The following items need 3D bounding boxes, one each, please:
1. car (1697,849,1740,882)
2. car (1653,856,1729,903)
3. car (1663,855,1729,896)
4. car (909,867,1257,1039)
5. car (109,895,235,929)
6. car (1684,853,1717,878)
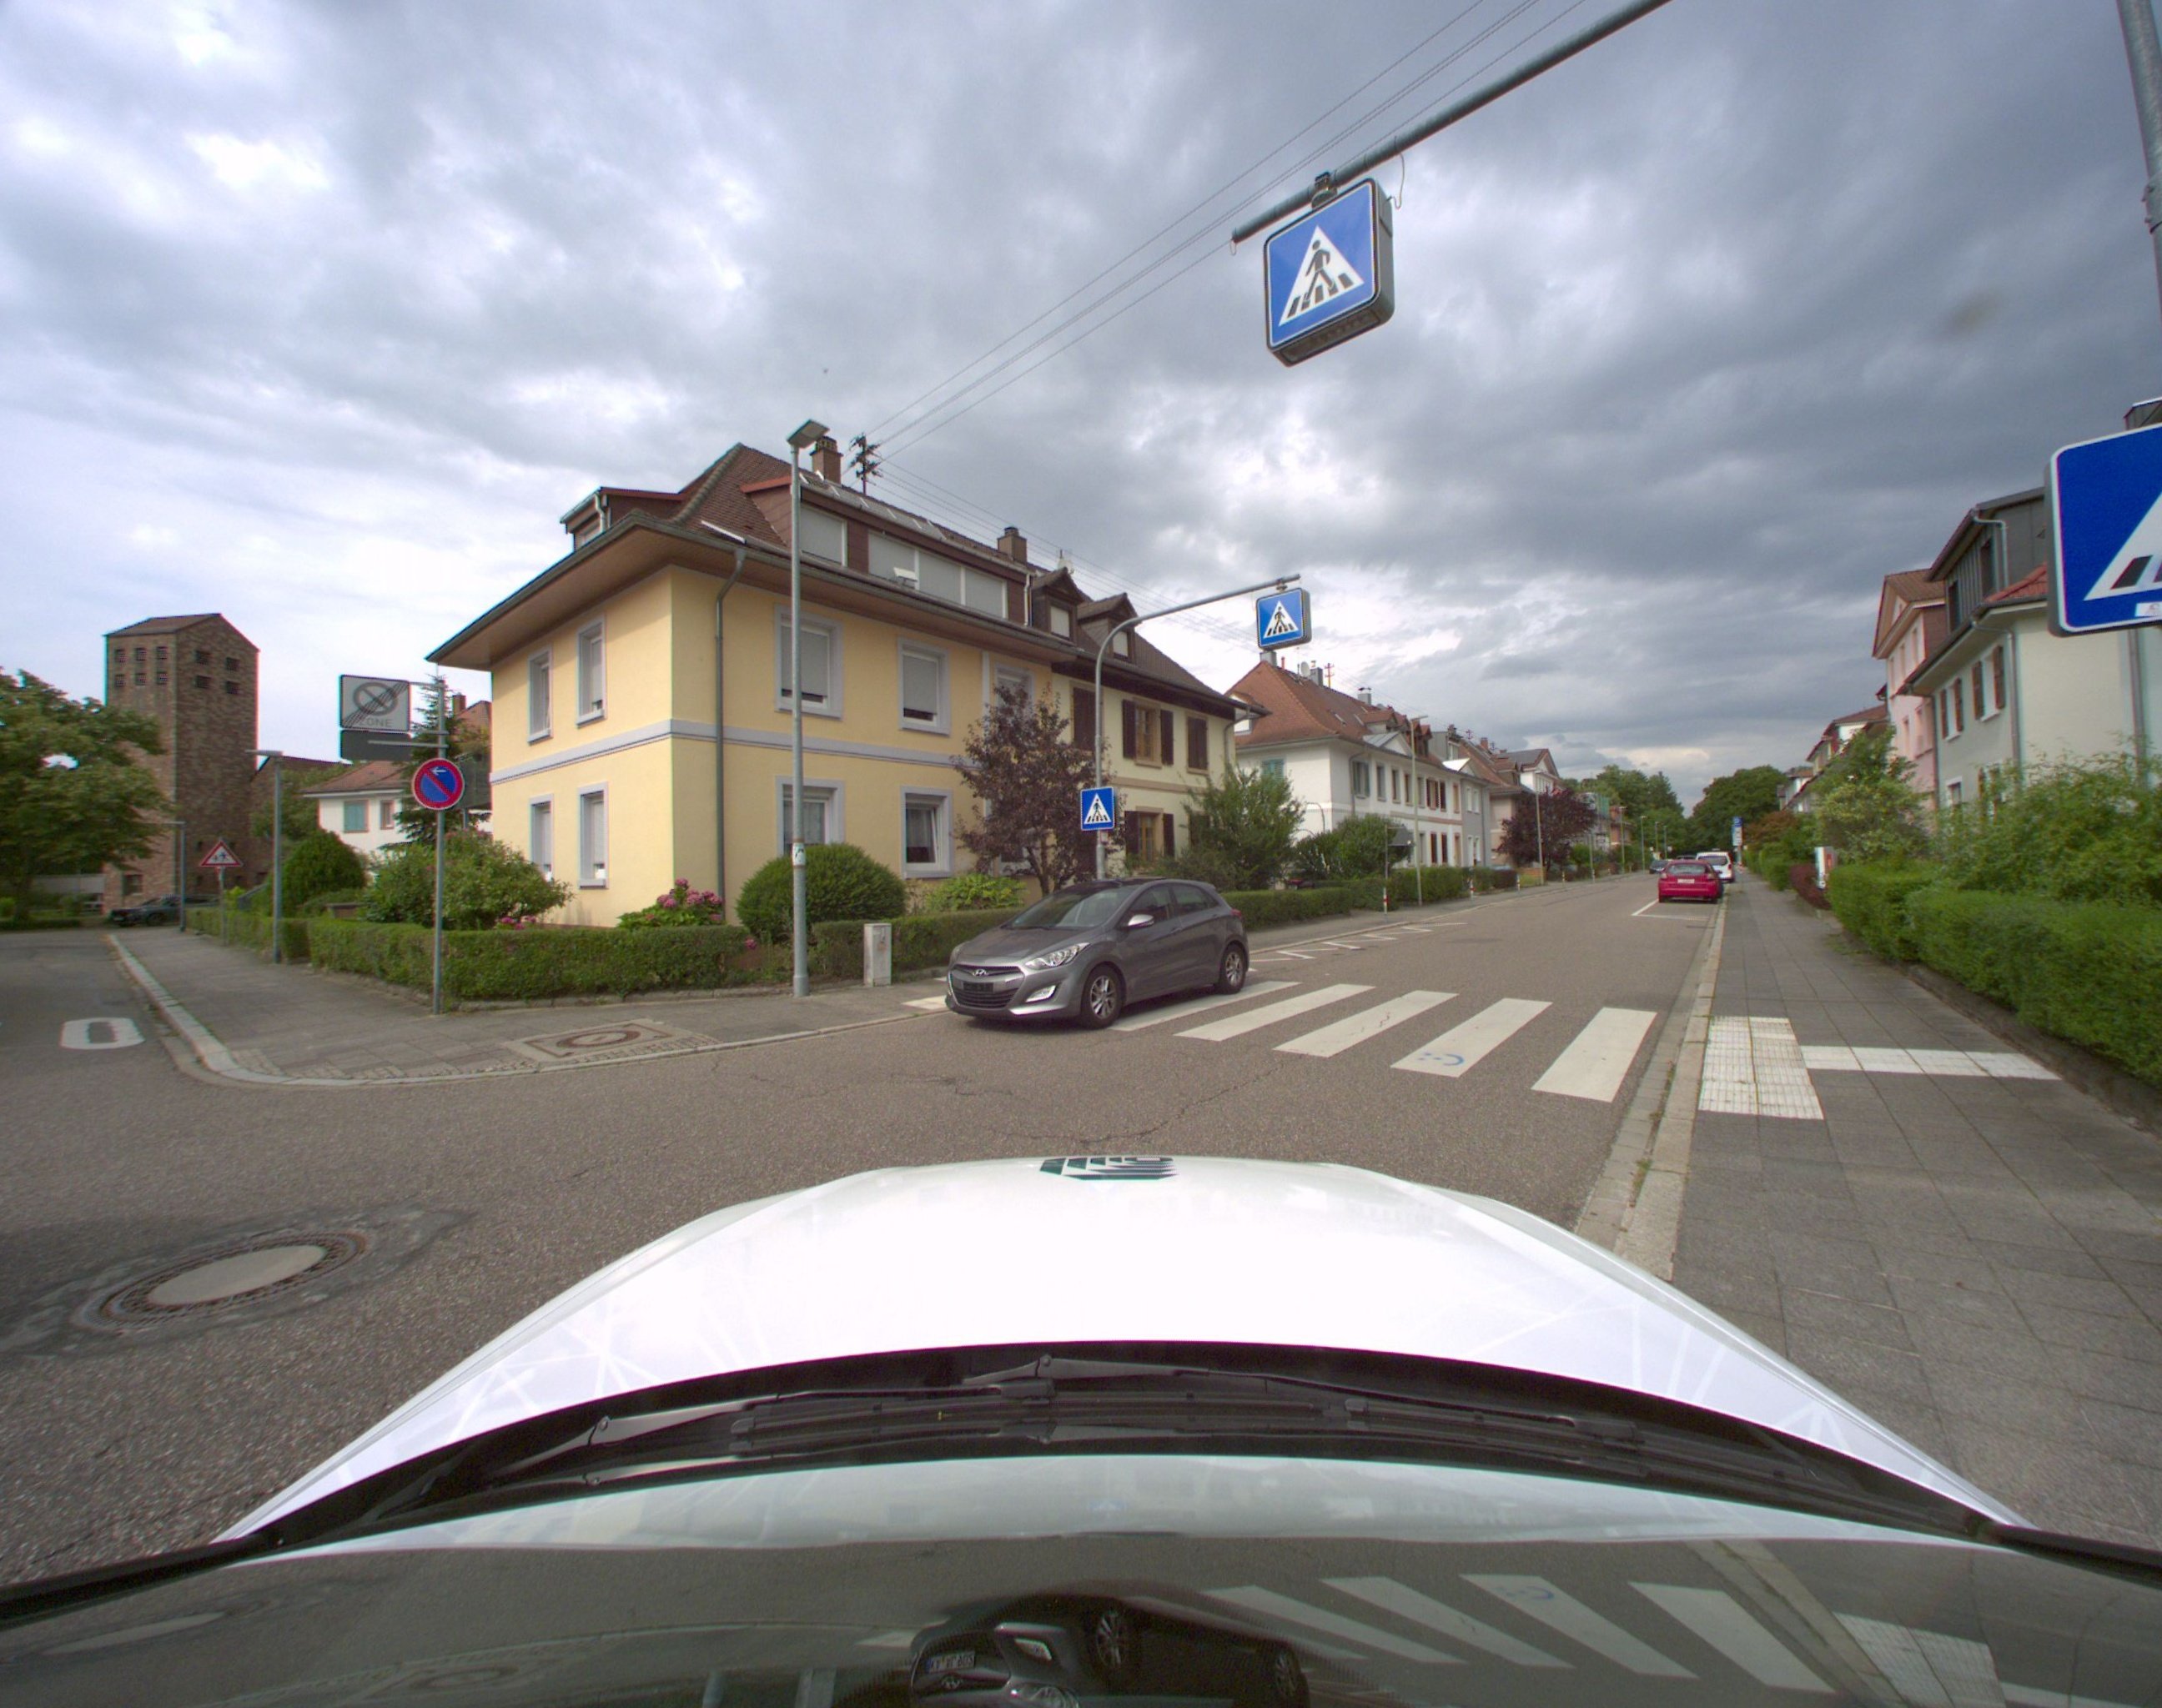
[{"bbox_3d":[40.096,0.709,51.192,1.974,1.904,4.025,-3,-2,39],"label":"car"},{"bbox_3d":[22.046,0.883,29.384,1.974,1.574,4.025,-3,-2,39],"label":"car"},{"bbox_3d":[25.300,0.848,33.433,1.974,1.574,4.025,-3,-2,39],"label":"car"},{"bbox_3d":[0.229,0.941,9.428,1.830,1.481,4.067,-3,-2,39],"label":"car"},{"bbox_3d":[-47.050,2.966,42.229,1.662,1.464,4.254,-1,-1,39],"label":"car"},{"bbox_3d":[50.401,0.957,66.229,1.974,1.833,4.024,-1,-3,39],"label":"car"}]
